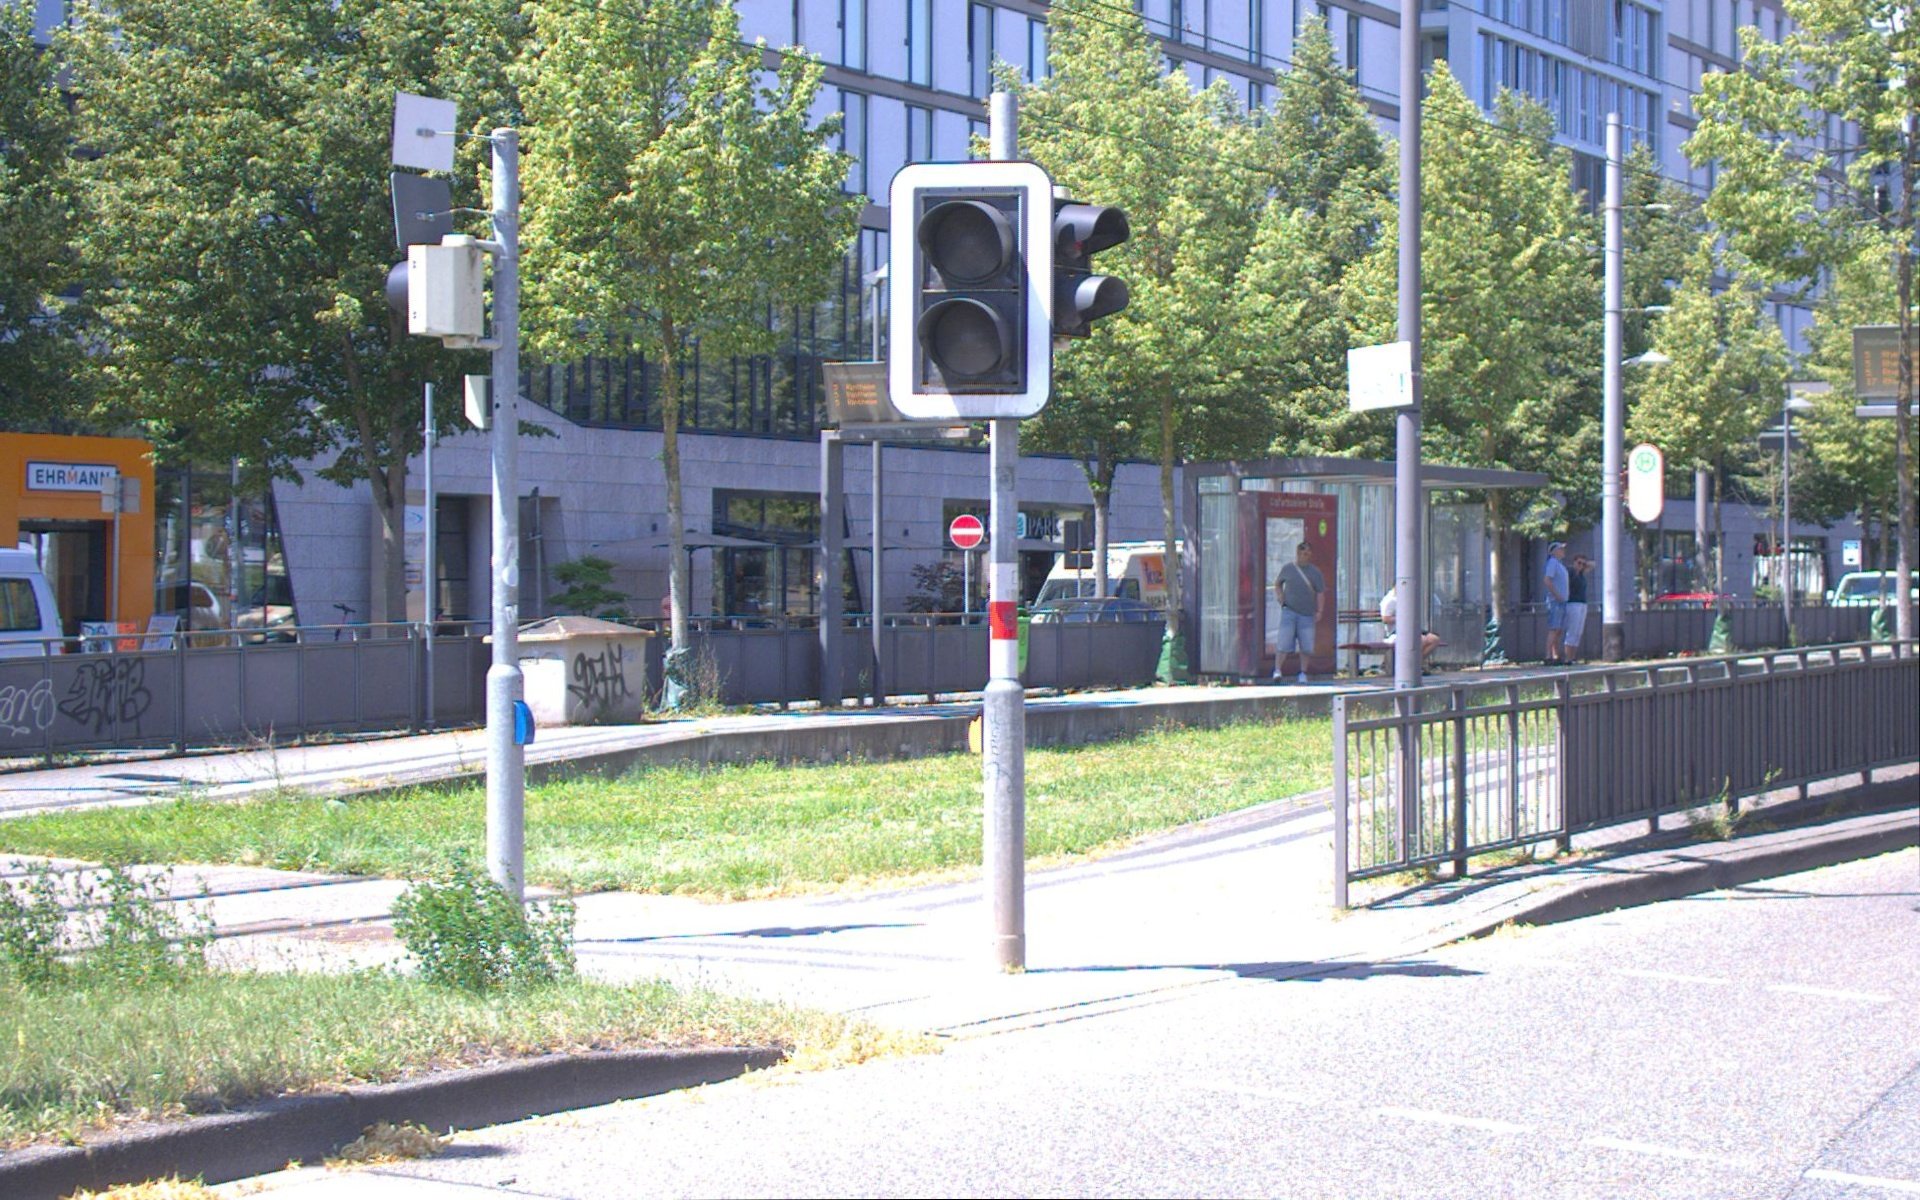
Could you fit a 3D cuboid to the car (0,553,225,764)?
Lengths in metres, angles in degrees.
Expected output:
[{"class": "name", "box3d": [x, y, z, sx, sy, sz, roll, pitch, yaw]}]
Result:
[{"class": "car", "box3d": [-10.244, 0.578, 35.152, 1.997, 2.099, 5.532, 1, 0, 33]}]

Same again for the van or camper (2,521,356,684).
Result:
[{"class": "van or camper", "box3d": [-14.183, 0.057, 62.960, 2.379, 2.813, 6.776, 1, 0, 29]}]

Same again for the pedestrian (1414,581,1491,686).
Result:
[{"class": "pedestrian", "box3d": [6.688, 0.448, 46.692, 0.836, 1.408, 0.641, 1, 0, 31]}]

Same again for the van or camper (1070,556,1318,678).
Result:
[{"class": "van or camper", "box3d": [4.884, 0.337, 70.566, 2.181, 2.378, 6.759, 1, 0, 31]}]

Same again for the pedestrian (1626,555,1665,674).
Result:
[{"class": "pedestrian", "box3d": [10.186, 0.215, 51.078, 0.410, 1.746, 0.585, 1, 0, 29]}]

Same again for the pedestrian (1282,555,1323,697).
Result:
[{"class": "pedestrian", "box3d": [4.209, 0.314, 42.311, 0.465, 1.733, 0.478, 1, 0, 3]}]

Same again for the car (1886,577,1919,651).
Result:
[{"class": "car", "box3d": [24.844, 0.354, 84.818, 2.467, 1.800, 5.061, 1, 0, 32]}]

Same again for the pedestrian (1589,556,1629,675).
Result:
[{"class": "pedestrian", "box3d": [9.555, 0.225, 50.605, 0.410, 1.746, 0.585, 1, 0, 29]}]
